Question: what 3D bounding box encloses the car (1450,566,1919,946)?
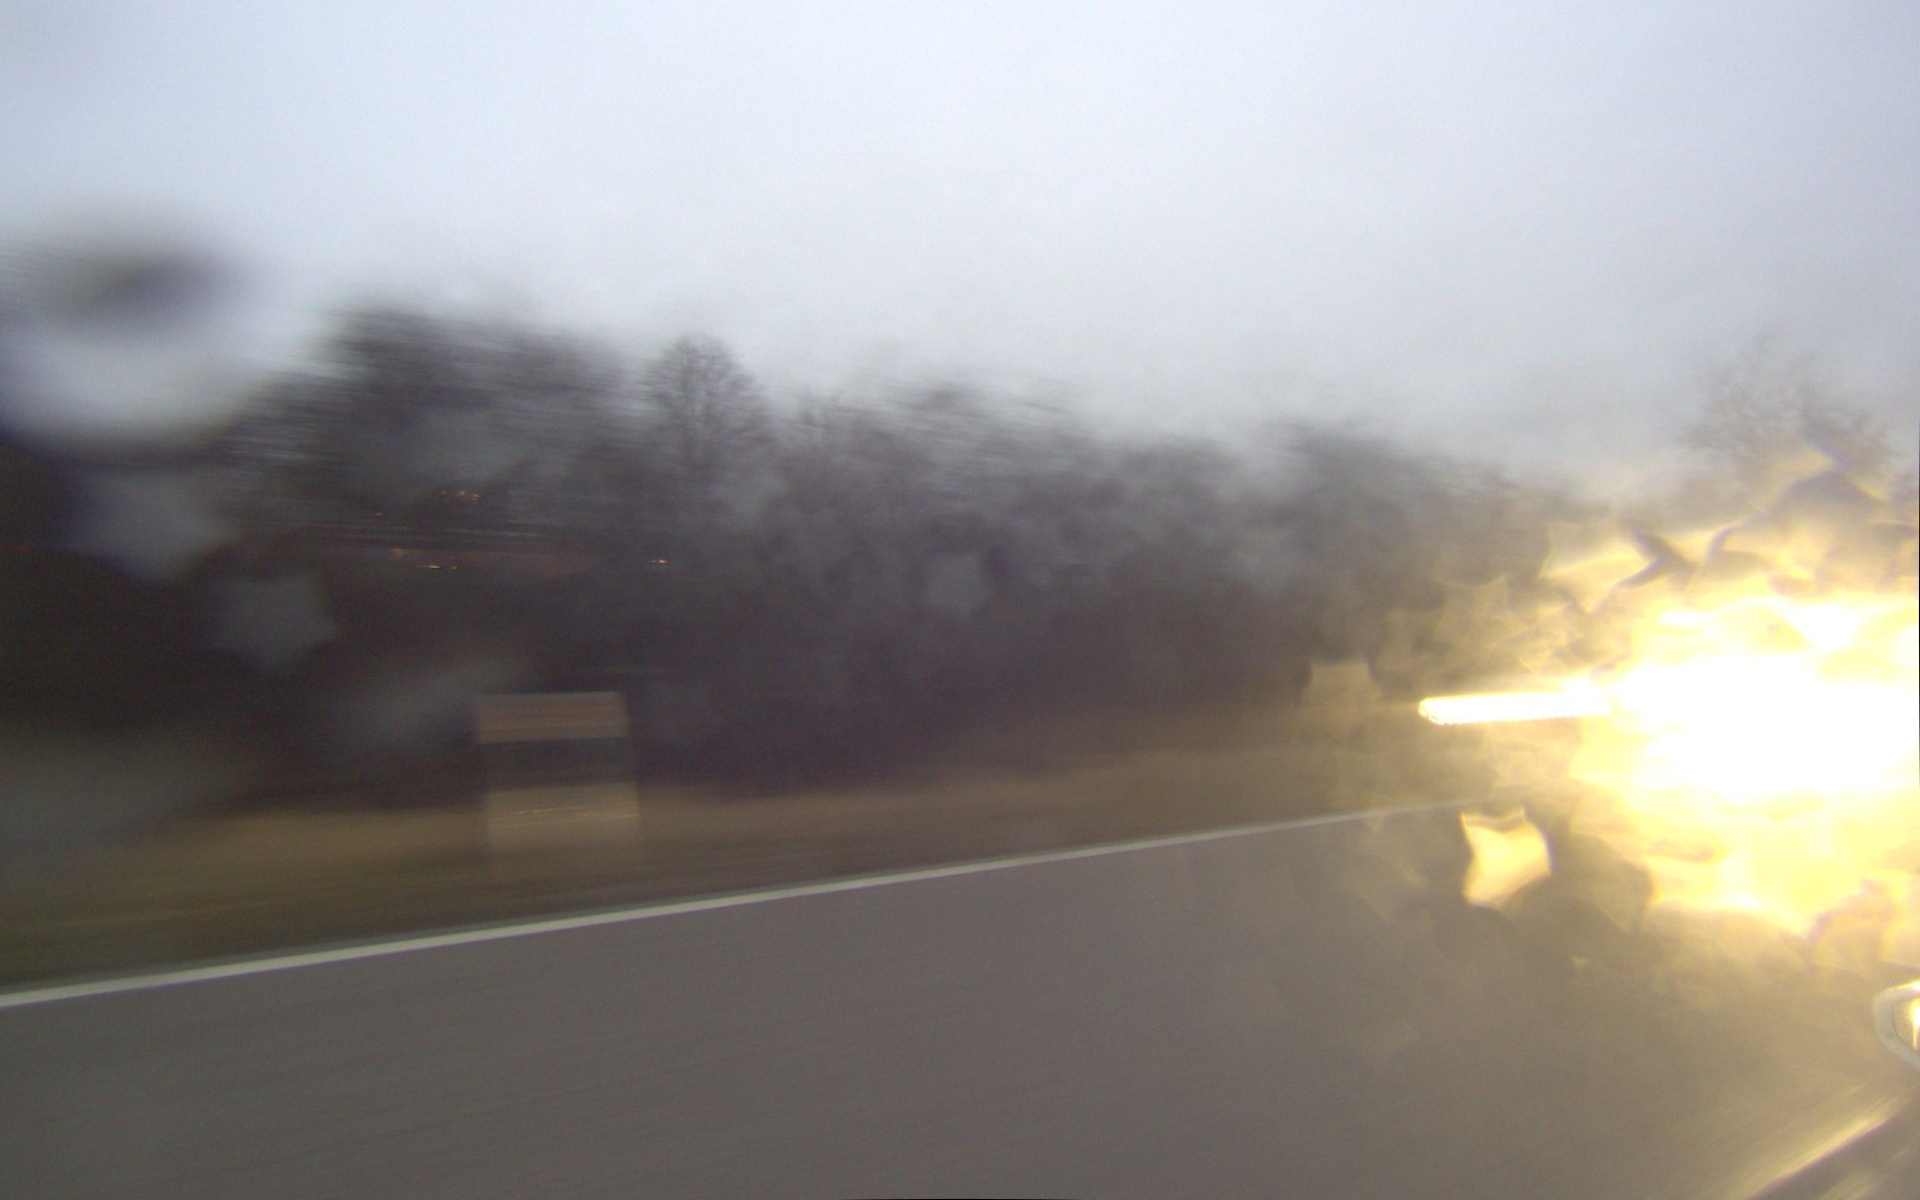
[{"bbox_3d":[5.379,0.729,6.477,4.415,1.723,1.854,1,0,-30],"label":"car"}]
